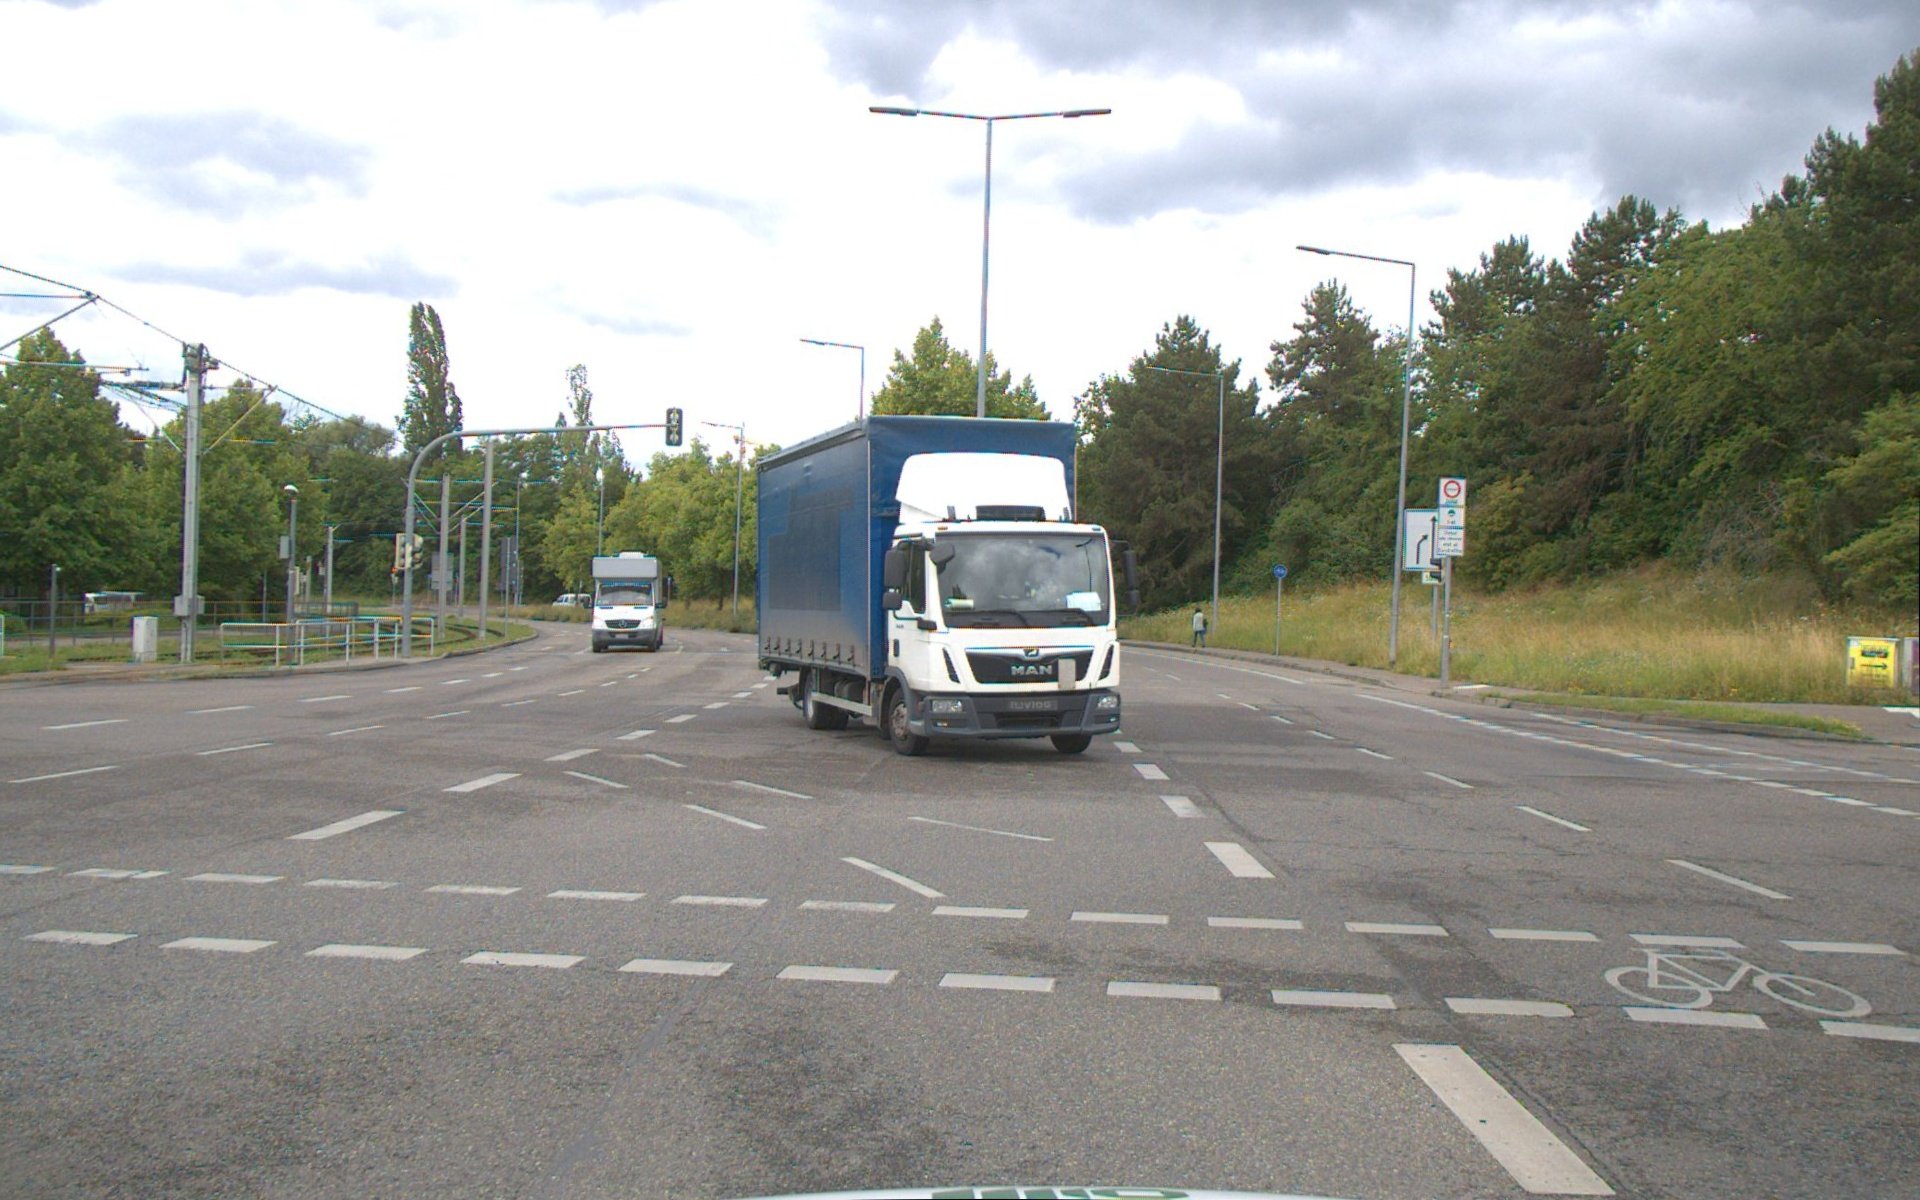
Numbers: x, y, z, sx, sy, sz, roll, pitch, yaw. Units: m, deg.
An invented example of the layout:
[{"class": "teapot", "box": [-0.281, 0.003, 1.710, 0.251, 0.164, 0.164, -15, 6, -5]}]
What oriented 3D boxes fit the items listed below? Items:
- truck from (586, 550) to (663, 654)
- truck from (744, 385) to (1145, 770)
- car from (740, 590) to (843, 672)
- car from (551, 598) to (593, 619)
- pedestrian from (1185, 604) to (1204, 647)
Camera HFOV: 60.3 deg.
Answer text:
[{"class": "truck", "box": [-10.675, 0.068, 53.039, 2.066, 3.063, 6.259, -2, 0, -10]}, {"class": "truck", "box": [-0.619, -0.215, 21.059, 2.735, 3.871, 8.346, 1, 0, -18]}, {"class": "car", "box": [-4.282, 0.741, 41.339, 1.959, 1.909, 4.874, 1, 0, -13]}, {"class": "car", "box": [-34.078, 0.765, 145.206, 1.984, 1.758, 3.668, 1, 0, -43]}, {"class": "pedestrian", "box": [9.689, 1.036, 68.326, 0.723, 1.747, 0.625, 1, 0, 2]}]
